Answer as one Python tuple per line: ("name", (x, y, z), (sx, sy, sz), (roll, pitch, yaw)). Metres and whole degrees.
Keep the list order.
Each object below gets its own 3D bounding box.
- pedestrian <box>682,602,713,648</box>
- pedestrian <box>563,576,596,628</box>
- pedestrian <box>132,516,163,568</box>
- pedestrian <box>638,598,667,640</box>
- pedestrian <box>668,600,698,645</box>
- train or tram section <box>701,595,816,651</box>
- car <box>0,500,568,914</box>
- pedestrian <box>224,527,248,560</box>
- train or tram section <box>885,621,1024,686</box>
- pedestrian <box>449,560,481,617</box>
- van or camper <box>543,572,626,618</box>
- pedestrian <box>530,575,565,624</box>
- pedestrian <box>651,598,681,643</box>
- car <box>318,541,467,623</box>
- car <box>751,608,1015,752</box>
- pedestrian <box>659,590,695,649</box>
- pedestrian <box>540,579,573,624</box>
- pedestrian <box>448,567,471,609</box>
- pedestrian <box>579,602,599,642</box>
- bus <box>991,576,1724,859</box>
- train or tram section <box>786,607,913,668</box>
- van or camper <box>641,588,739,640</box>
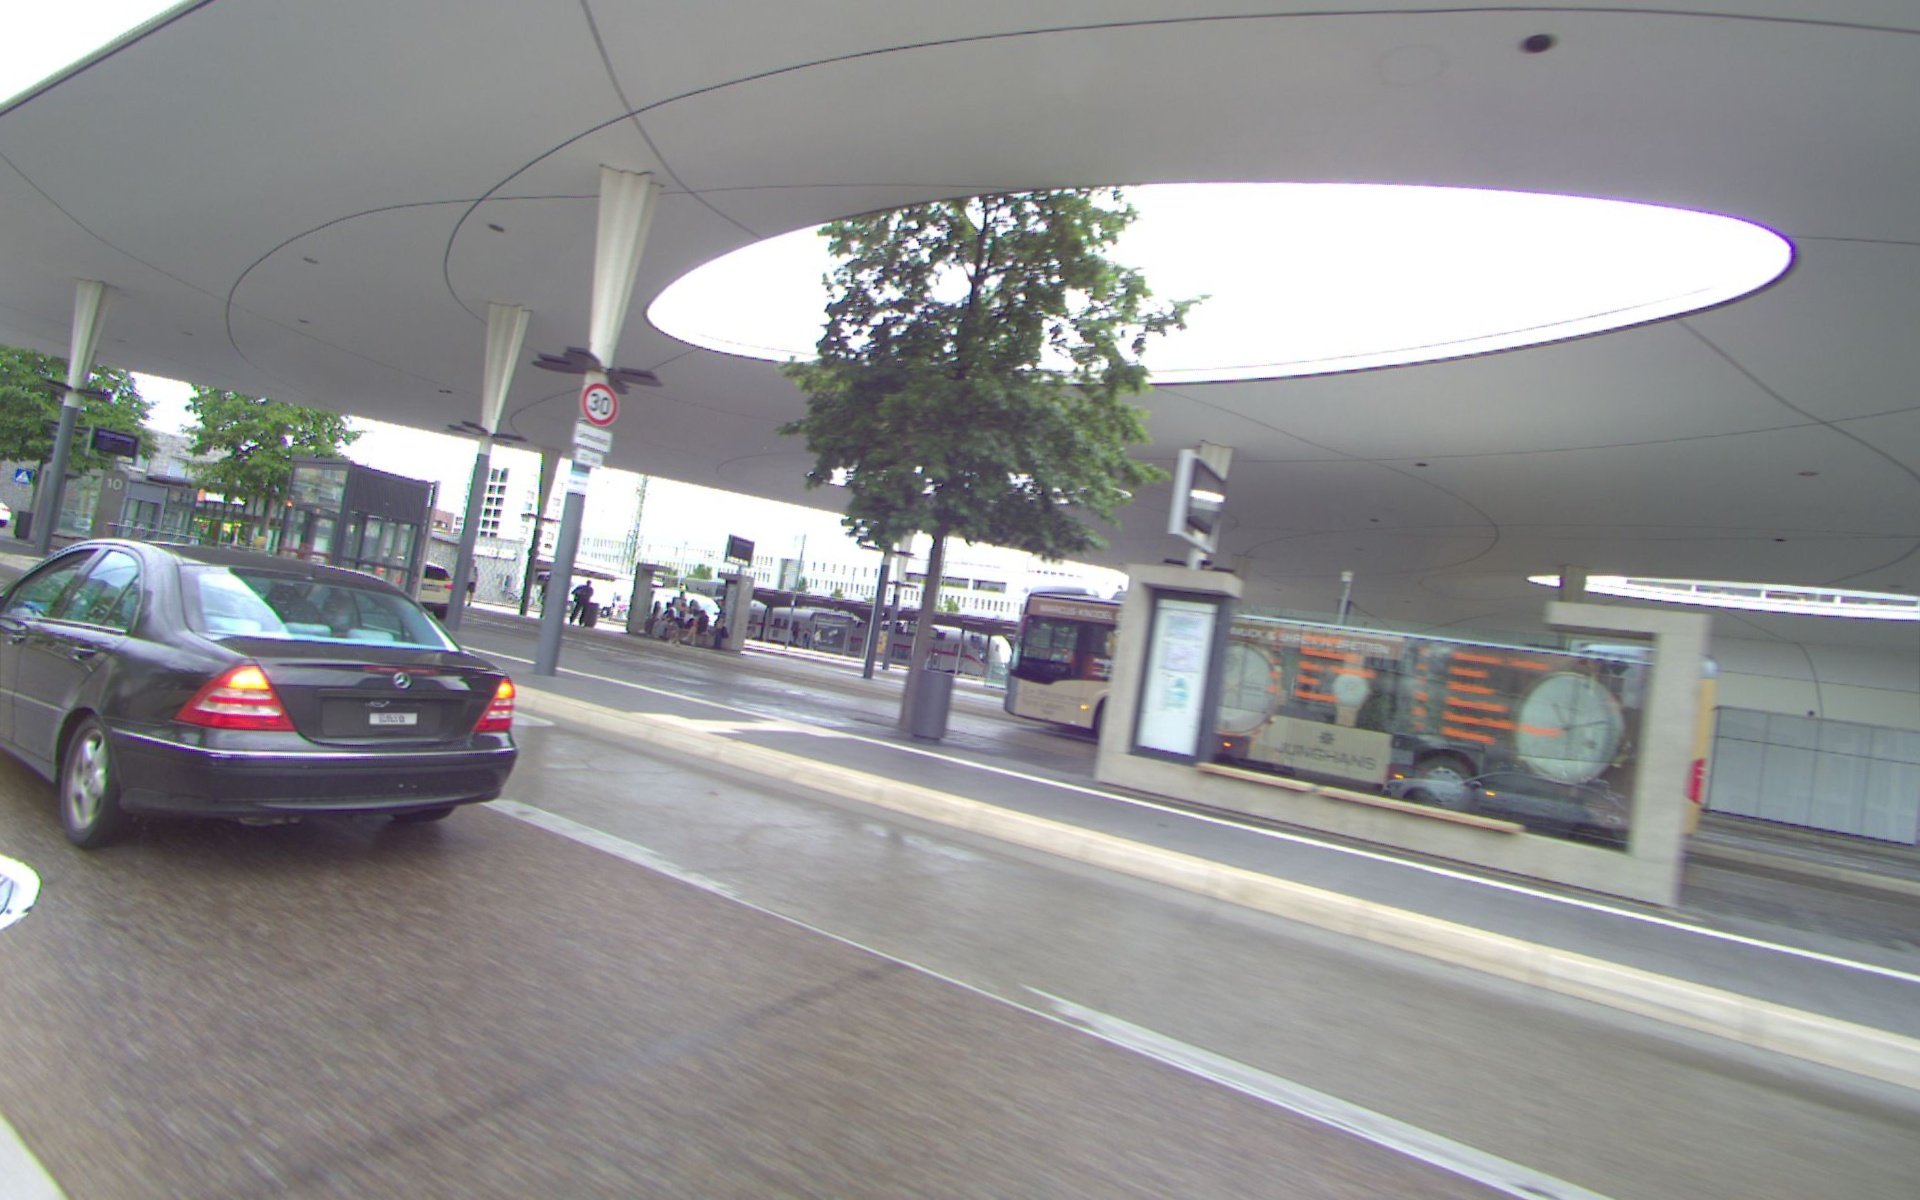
("pedestrian", (-8.898, 0.848, 34.159), (0.625, 1.460, 0.561), (6, -3, 30))
("pedestrian", (-13.622, 0.084, 36.035), (0.707, 1.730, 0.757), (5, 4, -44))
("pedestrian", (-27.823, -1.979, 34.452), (0.570, 1.697, 0.578), (8, -2, -31))
("pedestrian", (-10.855, 0.668, 35.544), (0.603, 1.375, 0.561), (6, -3, 30))
("pedestrian", (-9.614, 0.783, 34.895), (0.603, 1.460, 0.561), (6, -3, 30))
("train or tram section", (-19.583, 2.166, 97.144), (11.426, 3.693, 3.144), (7, -6, 33))
("car", (-4.381, 0.340, 5.707), (4.232, 1.479, 1.701), (7, -2, 32))
("pedestrian", (-37.892, -2.945, 52.628), (0.664, 1.592, 0.606), (2, -9, 39))
("train or tram section", (-0.556, 4.435, 84.761), (11.426, 3.712, 3.144), (7, -7, 33))
("pedestrian", (-18.708, -0.427, 37.992), (0.719, 2.031, 0.666), (11, -8, -30))
("van or camper", (-24.934, -0.325, 66.954), (2.074, 2.294, 4.701), (7, -3, 29))
("pedestrian", (-14.376, -0.005, 35.061), (0.699, 1.598, 0.600), (5, -4, 24))
("pedestrian", (-10.294, 0.720, 35.225), (0.603, 1.460, 0.561), (6, -3, 30))
("car", (-16.134, -0.529, 28.546), (4.170, 1.679, 1.717), (7, -4, 32))
("car", (-1.101, 1.111, 14.181), (3.183, 1.469, 1.652), (7, -3, 32))
("pedestrian", (-8.740, 0.615, 31.095), (0.603, 1.710, 0.562), (8, -3, 26))
("pedestrian", (-15.452, 0.061, 38.553), (0.759, 1.592, 0.583), (7, -7, 1))
("pedestrian", (-20.697, -0.488, 41.615), (0.574, 1.592, 0.560), (10, -7, -22))
("pedestrian", (-13.910, 0.823, 37.699), (0.469, 1.402, 0.560), (10, -7, -22))
("bus", (6.495, 1.754, 18.761), (11.893, 3.078, 2.726), (7, -2, 33))
("train or tram section", (-10.087, 3.346, 90.963), (11.426, 3.715, 3.144), (7, -6, 33))
("van or camper", (-17.362, 0.884, 64.595), (6.111, 2.536, 2.099), (6, -3, 30))
